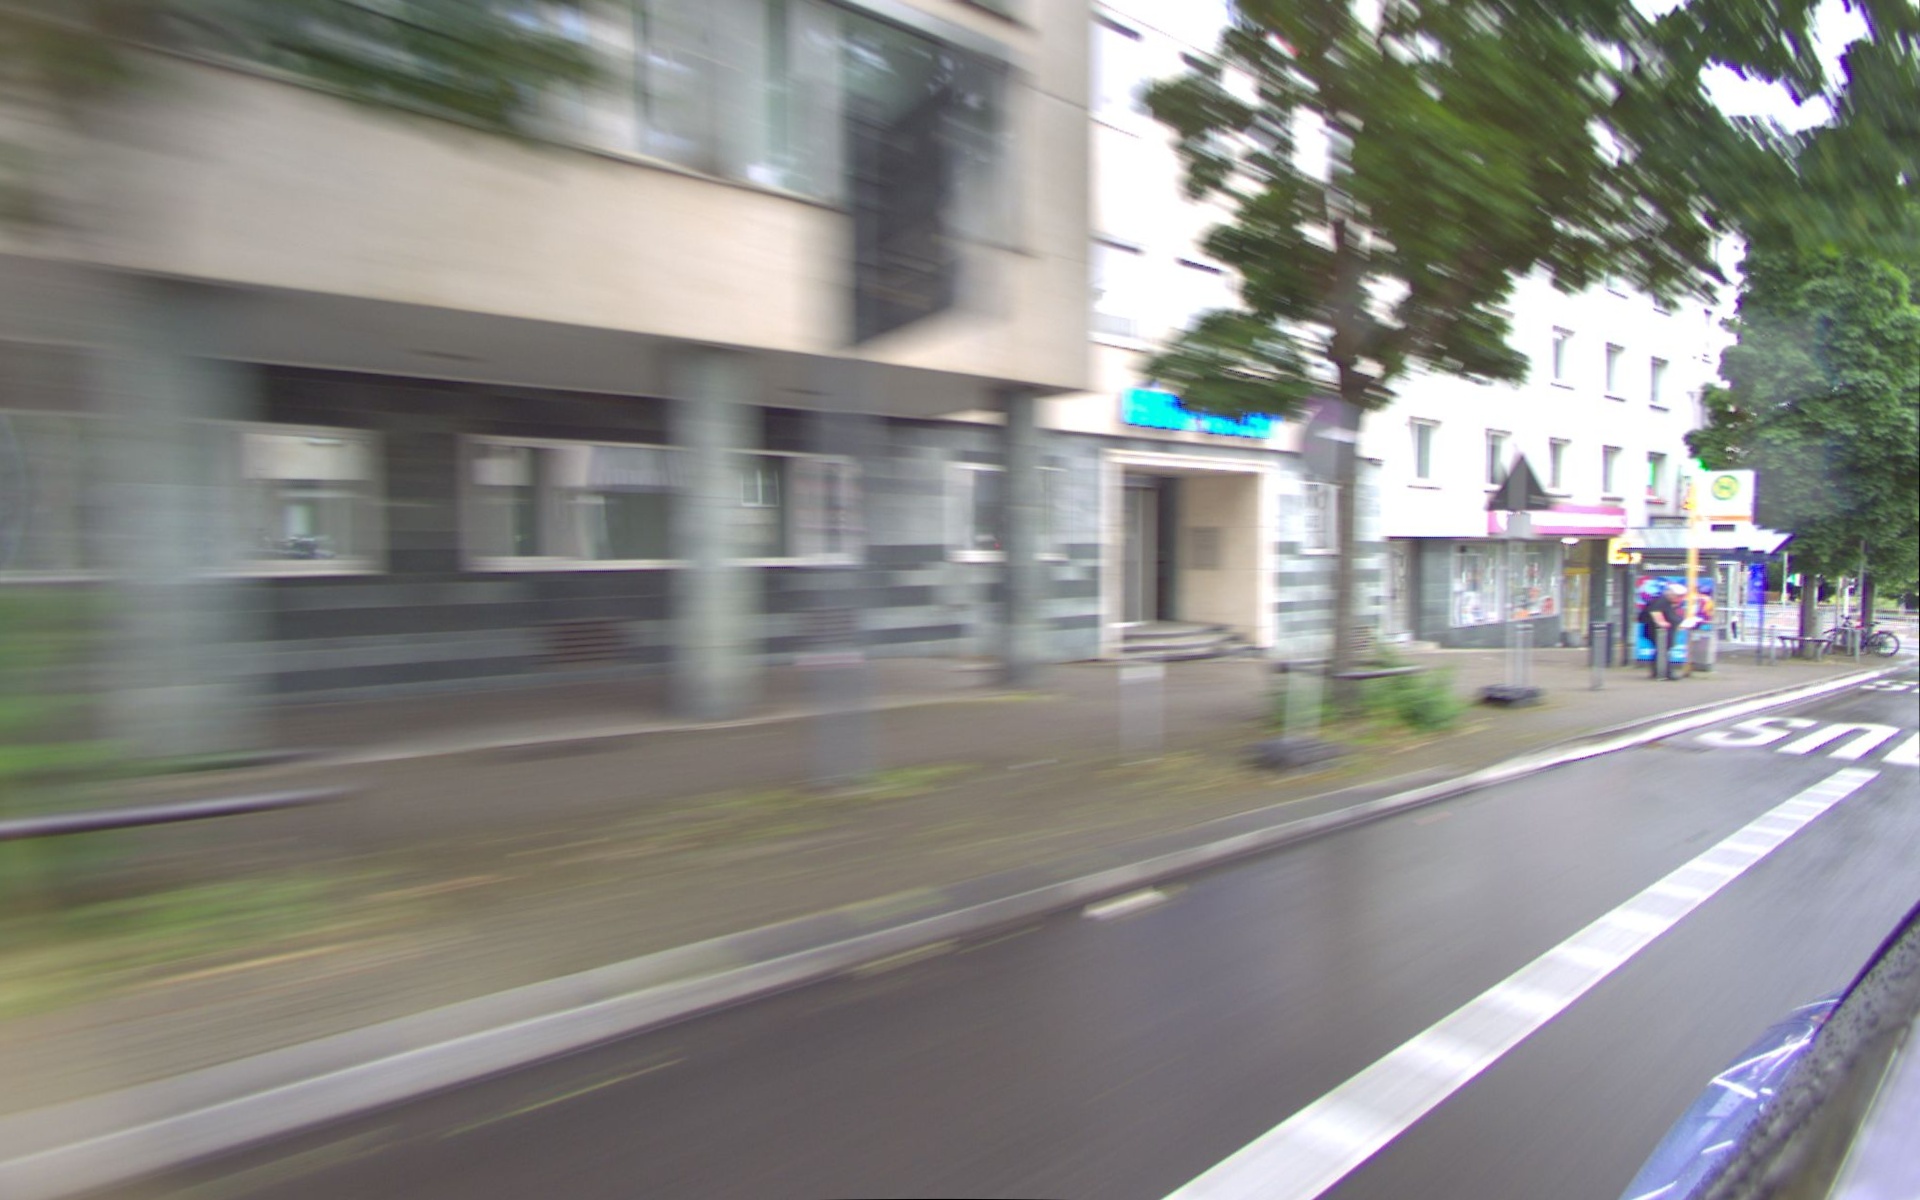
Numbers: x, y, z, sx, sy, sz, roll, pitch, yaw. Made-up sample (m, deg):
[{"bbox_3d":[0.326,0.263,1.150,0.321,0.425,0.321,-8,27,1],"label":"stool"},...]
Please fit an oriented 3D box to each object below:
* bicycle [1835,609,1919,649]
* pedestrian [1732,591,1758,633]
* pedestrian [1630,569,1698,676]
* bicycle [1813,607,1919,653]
[{"bbox_3d":[28.413,0.892,31.374,0.637,1.105,1.822,2,1,-37],"label":"bicycle"},{"bbox_3d":[33.404,0.518,43.054,0.519,1.733,0.706,1,2,1],"label":"pedestrian"},{"bbox_3d":[11.377,0.344,16.353,0.951,1.646,0.666,1,1,-42],"label":"pedestrian"},{"bbox_3d":[26.922,0.851,30.036,0.637,1.188,2.323,-1,3,-37],"label":"bicycle"}]
